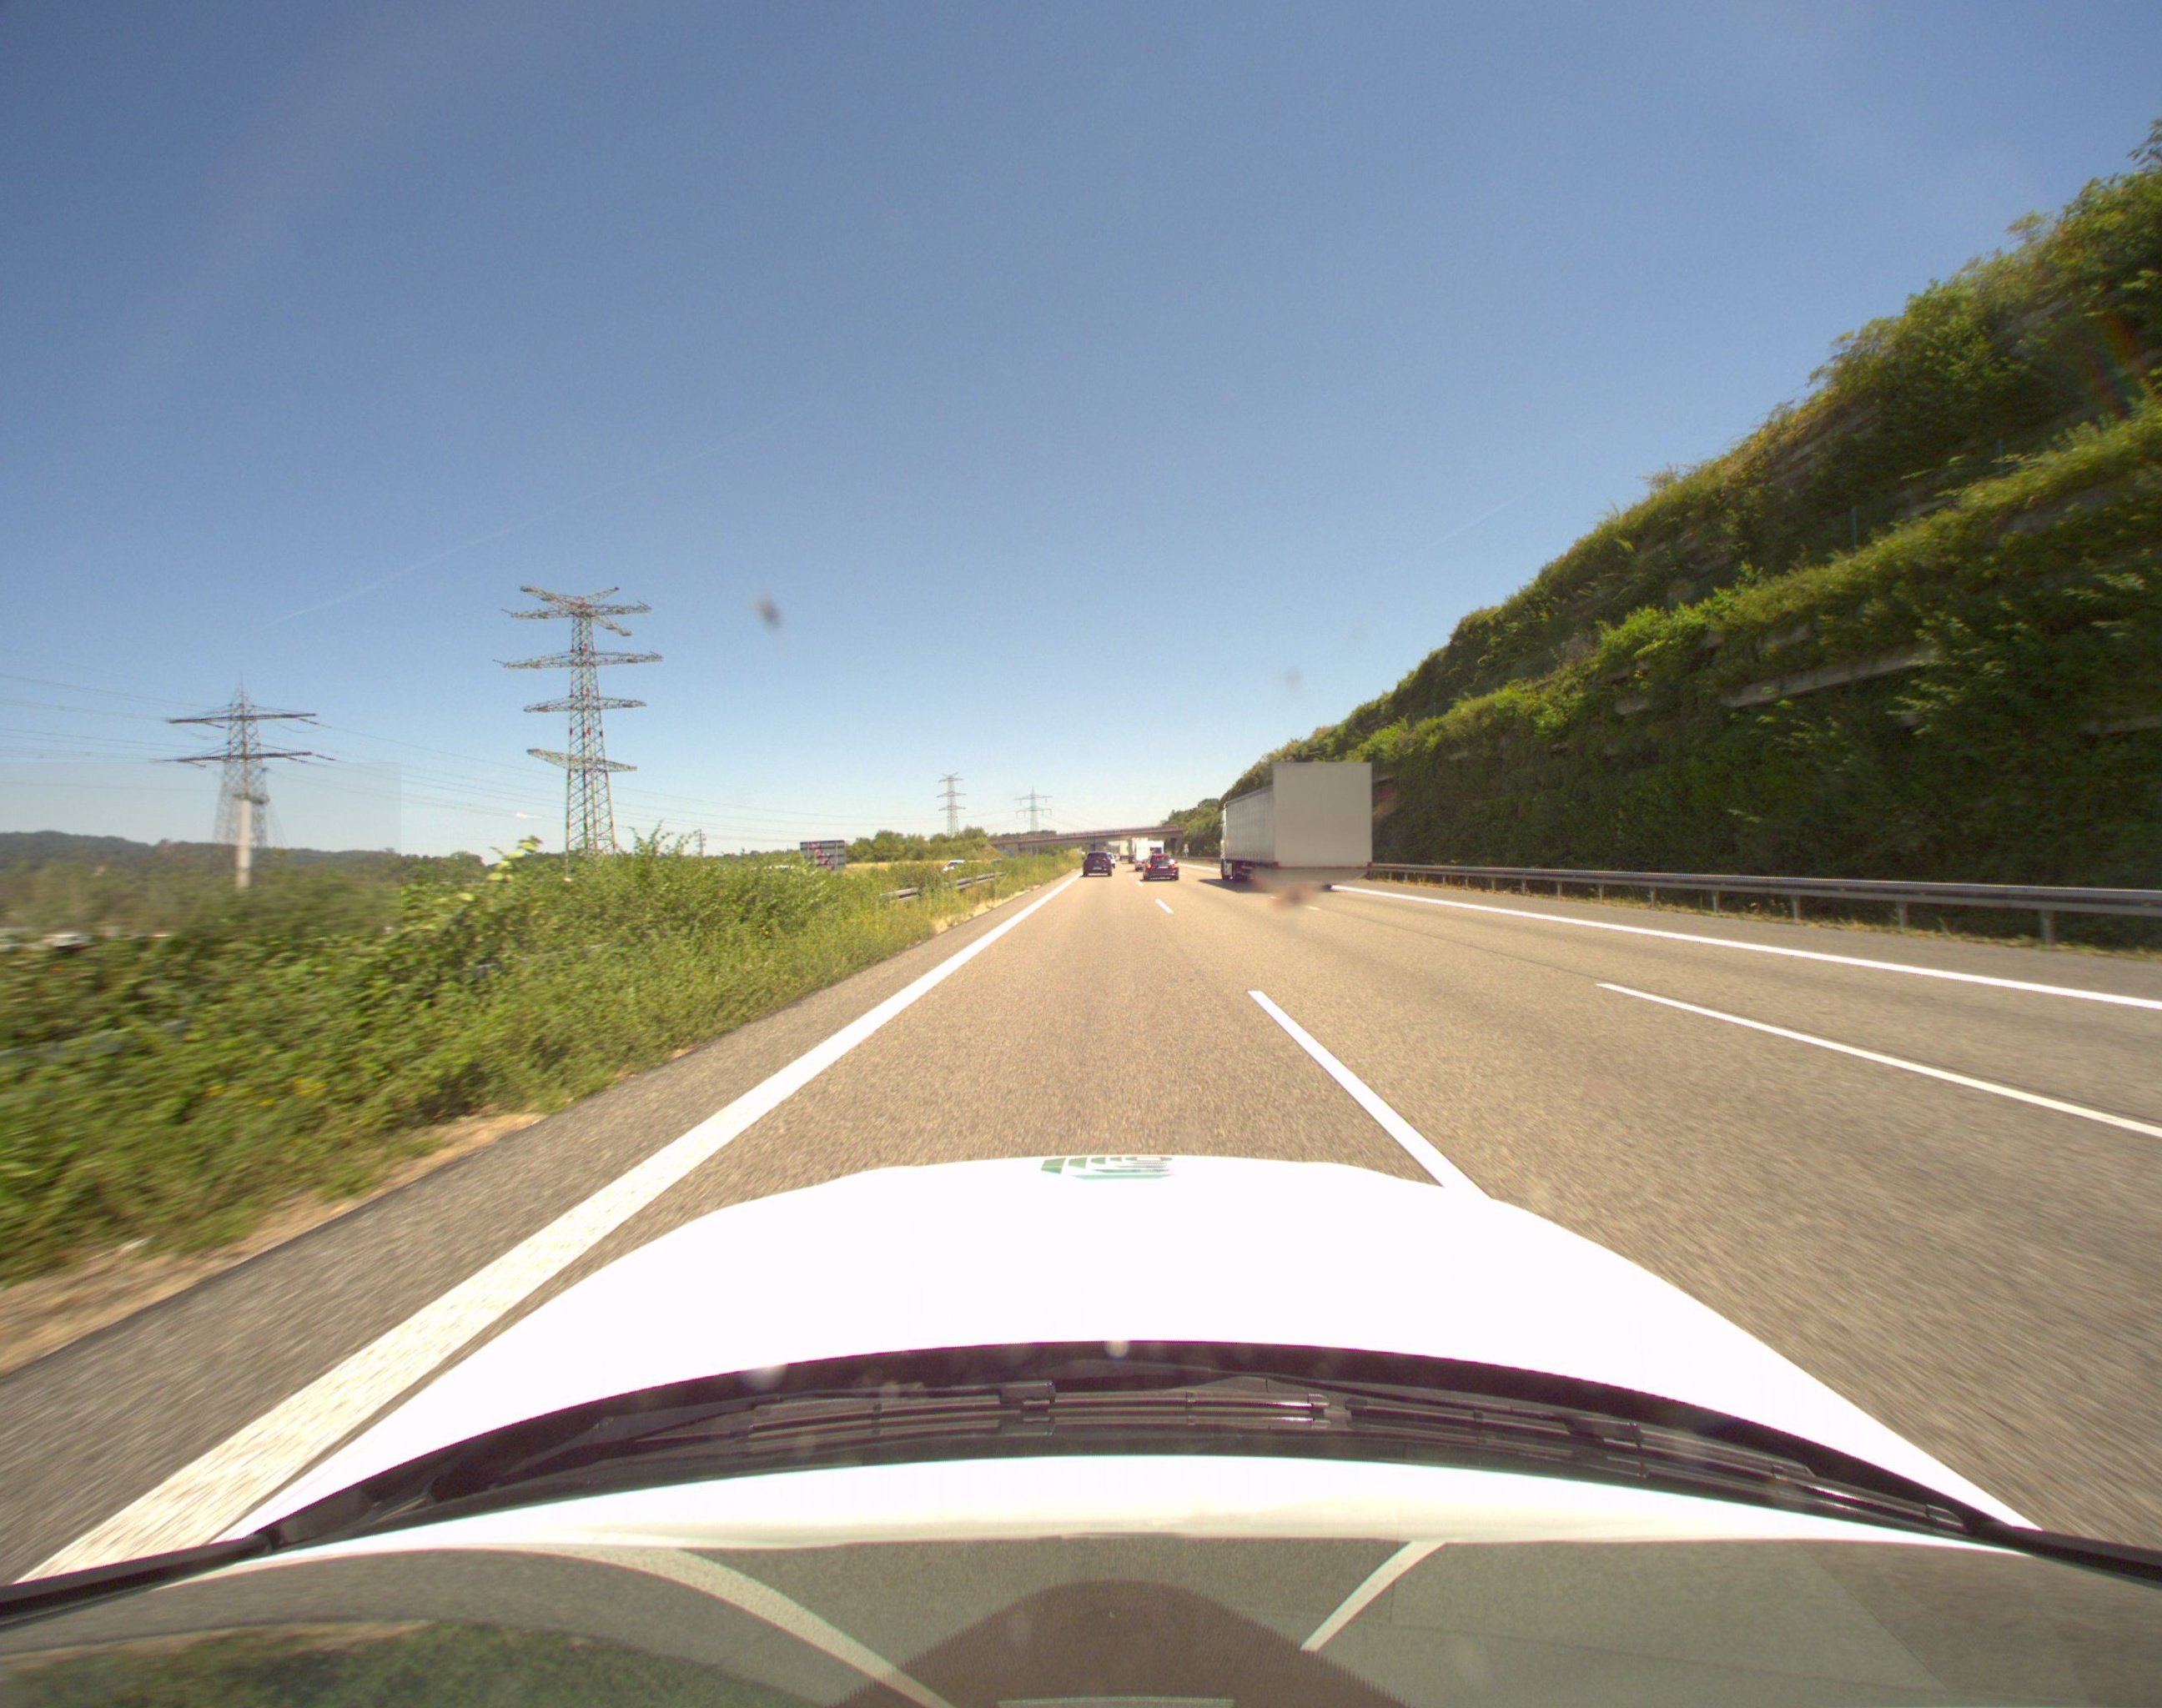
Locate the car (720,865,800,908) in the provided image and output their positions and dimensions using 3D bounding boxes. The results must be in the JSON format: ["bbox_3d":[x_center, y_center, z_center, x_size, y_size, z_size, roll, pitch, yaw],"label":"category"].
[{"bbox_3d":[-16.215,1.598,41.414,1.891,1.965,4.996,-1,0,2],"label":"car"}]

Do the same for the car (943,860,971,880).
[{"bbox_3d":[-11.356,1.420,74.752,1.605,1.651,3.925,-2,0,3],"label":"car"}]

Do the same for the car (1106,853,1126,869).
[{"bbox_3d":[3.741,0.732,87.152,1.824,1.670,3.999,-3,0,0],"label":"car"}]

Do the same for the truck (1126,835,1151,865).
[{"bbox_3d":[8.749,-0.652,125.446,3.107,4.280,11.938,-2,0,2],"label":"truck"}]

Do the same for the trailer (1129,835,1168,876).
[{"bbox_3d":[5.818,0.098,71.578,2.601,3.213,9.954,-2,0,1],"label":"trailer"}]

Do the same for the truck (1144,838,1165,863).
[{"bbox_3d":[13.558,-0.636,150.606,3.107,4.280,10.171,-2,0,2],"label":"truck"}]

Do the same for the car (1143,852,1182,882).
[{"bbox_3d":[4.488,0.679,45.158,1.823,1.525,4.002,-3,0,2],"label":"car"}]

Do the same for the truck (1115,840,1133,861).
[{"bbox_3d":[9.240,-0.682,174.567,3.397,4.280,10.611,-2,0,2],"label":"truck"}]

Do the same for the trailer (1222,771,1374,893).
[{"bbox_3d":[8.738,-0.762,35.169,3.171,4.121,13.435,-2,0,2],"label":"trailer"}]

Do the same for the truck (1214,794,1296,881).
[{"bbox_3d":[9.030,-0.821,42.906,3.124,4.141,5.505,-2,0,1],"label":"truck"}]

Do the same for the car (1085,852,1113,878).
[{"bbox_3d":[1.248,0.721,56.157,1.823,1.670,4.001,-3,0,1],"label":"car"}]

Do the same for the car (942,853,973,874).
[{"bbox_3d":[-11.548,0.849,76.442,1.987,1.845,5.118,-2,0,1],"label":"car"}]

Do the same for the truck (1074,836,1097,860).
[{"bbox_3d":[0.927,-0.999,149.062,3.948,4.113,9.954,-2,0,1],"label":"truck"}]

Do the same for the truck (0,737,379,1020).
[{"bbox_3d":[-17.371,0.411,12.925,2.862,4.176,10.573,-2,0,2],"label":"truck"}]
